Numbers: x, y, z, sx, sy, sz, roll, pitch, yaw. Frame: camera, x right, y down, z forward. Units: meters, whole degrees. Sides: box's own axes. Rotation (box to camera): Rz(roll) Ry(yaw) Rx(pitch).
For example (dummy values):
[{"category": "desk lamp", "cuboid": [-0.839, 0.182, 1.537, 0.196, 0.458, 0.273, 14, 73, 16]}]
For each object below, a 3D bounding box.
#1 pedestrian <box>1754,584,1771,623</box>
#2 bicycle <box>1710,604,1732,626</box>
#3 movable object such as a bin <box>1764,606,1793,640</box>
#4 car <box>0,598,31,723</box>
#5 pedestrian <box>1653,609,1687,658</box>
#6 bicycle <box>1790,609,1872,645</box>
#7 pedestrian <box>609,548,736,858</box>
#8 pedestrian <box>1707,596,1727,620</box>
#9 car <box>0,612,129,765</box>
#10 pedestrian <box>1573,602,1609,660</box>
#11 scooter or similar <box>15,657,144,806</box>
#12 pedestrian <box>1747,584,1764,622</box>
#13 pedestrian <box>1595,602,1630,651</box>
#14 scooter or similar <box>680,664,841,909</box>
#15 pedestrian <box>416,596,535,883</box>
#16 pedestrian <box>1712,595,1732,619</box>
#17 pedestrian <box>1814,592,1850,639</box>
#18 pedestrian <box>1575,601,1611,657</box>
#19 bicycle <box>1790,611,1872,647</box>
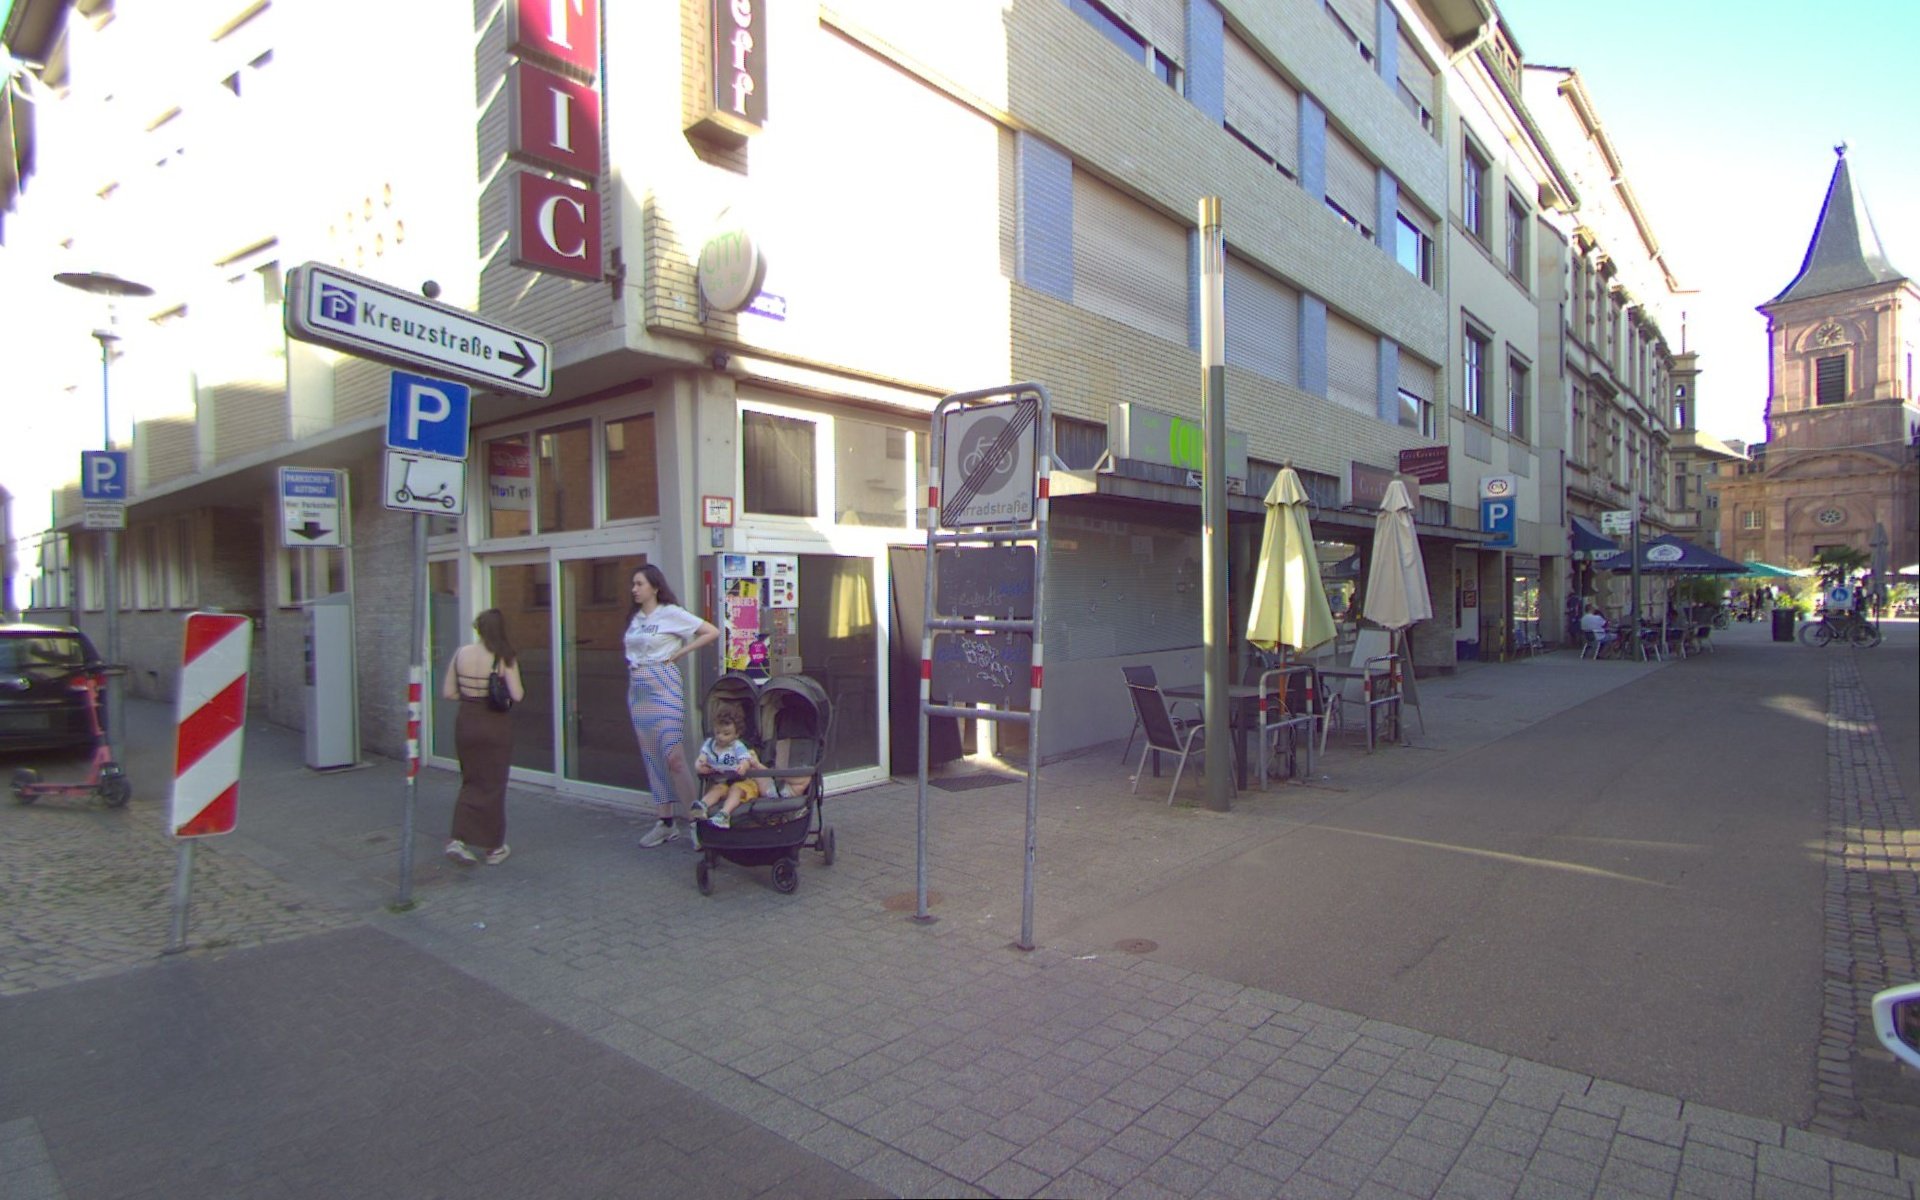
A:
[{"category": "pedestrian", "cuboid": [38.190, 0.171, 47.824, 0.607, 1.832, 0.613, -1, 0, 37]}, {"category": "bicycle", "cuboid": [31.029, 0.610, 40.932, 0.452, 0.861, 2.133, -1, 0, 44]}, {"category": "movable object such as a bin", "cuboid": [26.638, 0.736, 32.683, 0.713, 1.089, 0.372, -1, 0, 40]}, {"category": "car", "cuboid": [-14.845, 0.840, 14.477, 4.020, 1.683, 1.666, -1, -3, 41]}, {"category": "pedestrian", "cuboid": [18.564, 0.869, 26.279, 0.682, 1.231, 0.581, -1, 0, 34]}, {"category": "bicycle", "cuboid": [25.671, 0.786, 29.651, 1.801, 1.018, 0.379, -1, 0, 39]}, {"category": "pedestrian", "cuboid": [-1.843, 0.618, 6.416, 0.650, 1.844, 0.568, -3, 2, -20]}, {"category": "pedestrian", "cuboid": [39.393, 0.435, 52.250, 0.714, 1.234, 0.694, -1, 0, -43]}, {"category": "car", "cuboid": [-10.819, 0.932, 11.224, 3.755, 1.505, 1.733, -2, -3, 41]}, {"category": "pedestrian", "cuboid": [15.418, 0.743, 24.555, 0.697, 1.386, 0.718, -1, 0, 29]}, {"category": "scooter or similar", "cuboid": [-7.322, 1.086, 8.356, 0.865, 1.199, 0.208, -1, 0, 0]}, {"category": "pedestrian", "cuboid": [38.444, 0.136, 48.524, 0.607, 1.832, 0.613, -1, 0, 37]}, {"category": "pedestrian", "cuboid": [17.282, 0.699, 26.624, 0.754, 1.249, 0.829, -1, 0, 33]}, {"category": "scooter or similar", "cuboid": [-1.071, 0.979, 5.609, 0.784, 1.159, 0.953, -1, 1, -7]}, {"category": "pedestrian", "cuboid": [-2.904, 0.791, 6.029, 0.527, 1.601, 0.507, -4, 2, -27]}, {"category": "pedestrian", "cuboid": [40.400, 0.363, 53.257, 0.714, 1.234, 0.694, -1, 0, -43]}, {"category": "pedestrian", "cuboid": [28.375, 0.494, 32.694, 0.874, 1.483, 0.727, -1, 0, 42]}, {"category": "pedestrian", "cuboid": [15.962, 0.724, 25.334, 0.707, 1.386, 0.709, -1, 0, 29]}, {"category": "bicycle", "cuboid": [25.417, 0.832, 29.345, 1.801, 1.018, 0.379, -1, 0, 39]}]
